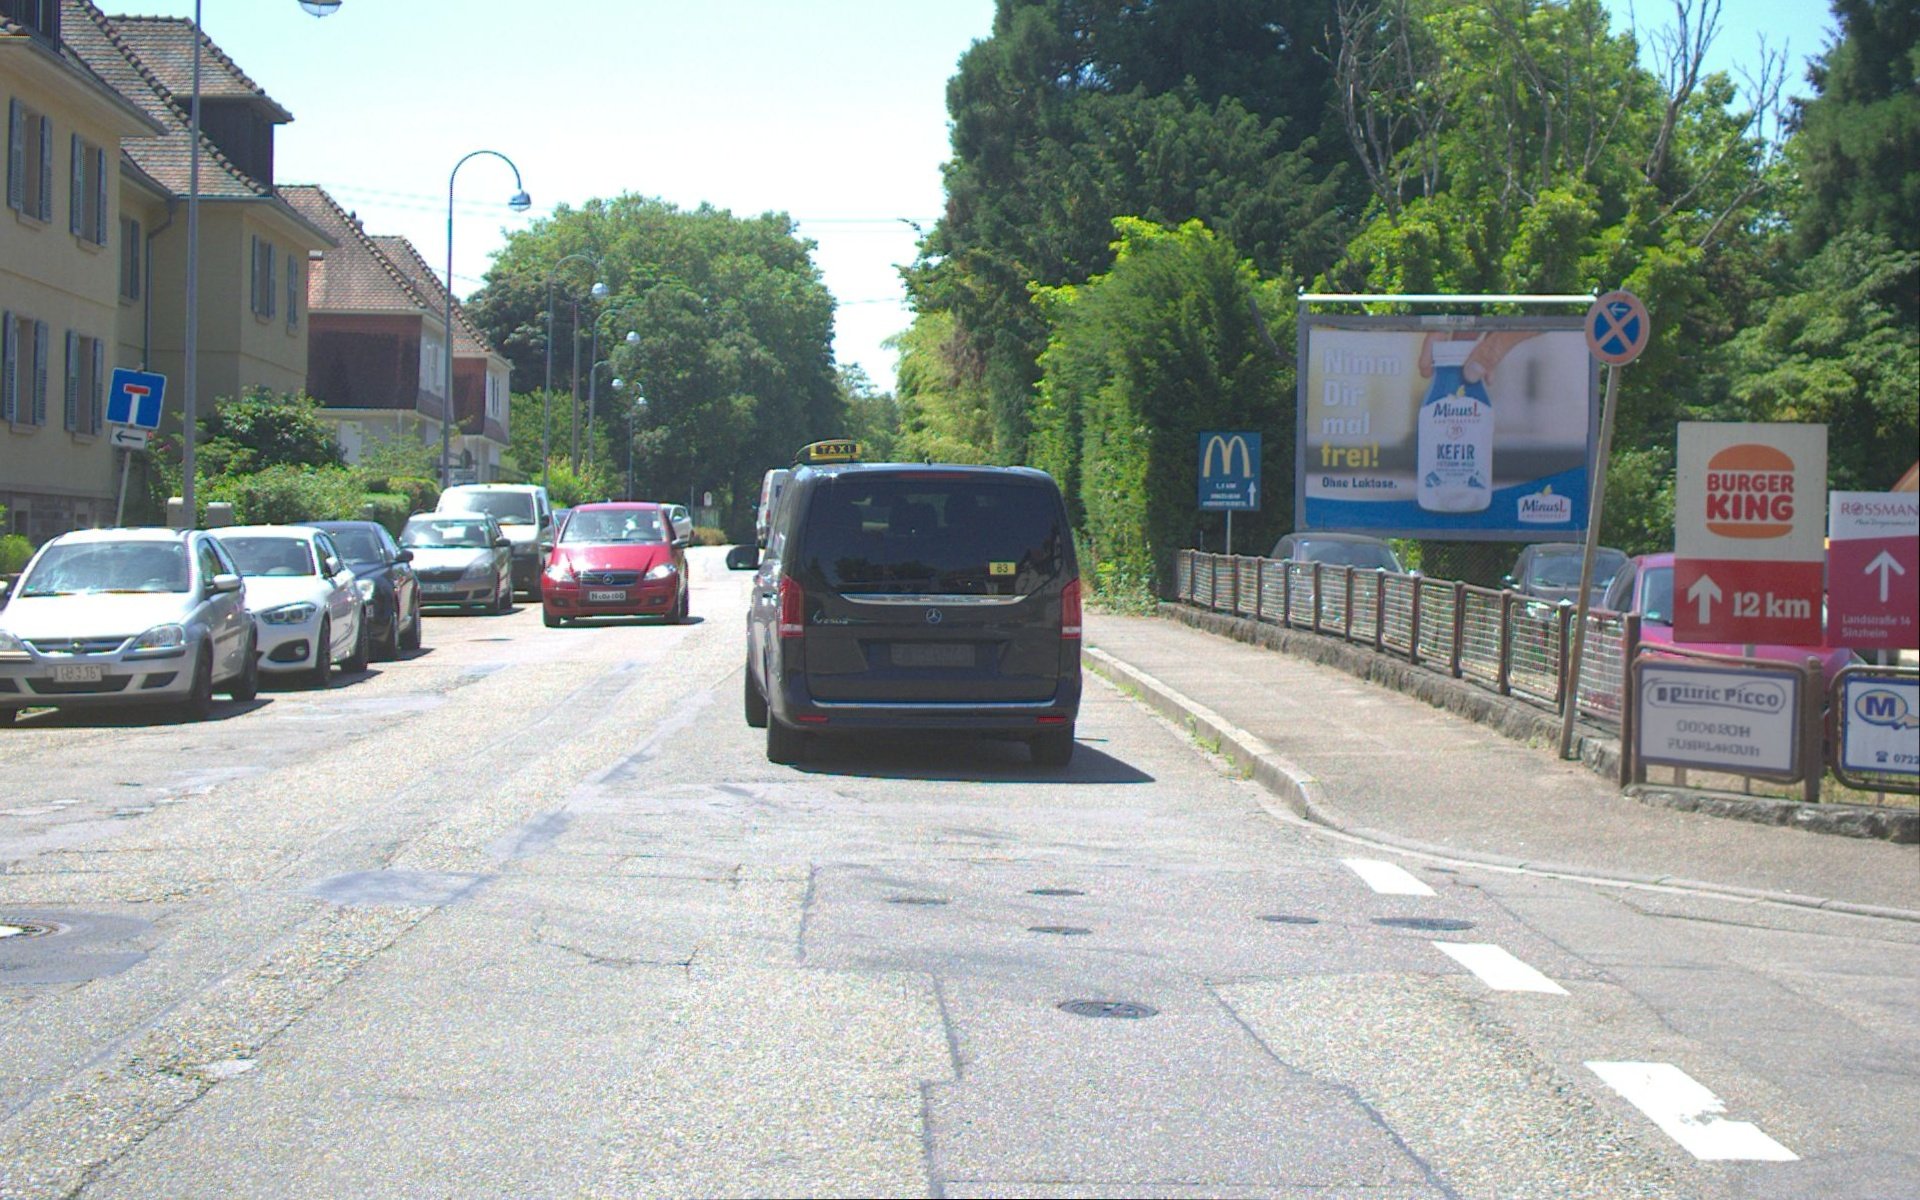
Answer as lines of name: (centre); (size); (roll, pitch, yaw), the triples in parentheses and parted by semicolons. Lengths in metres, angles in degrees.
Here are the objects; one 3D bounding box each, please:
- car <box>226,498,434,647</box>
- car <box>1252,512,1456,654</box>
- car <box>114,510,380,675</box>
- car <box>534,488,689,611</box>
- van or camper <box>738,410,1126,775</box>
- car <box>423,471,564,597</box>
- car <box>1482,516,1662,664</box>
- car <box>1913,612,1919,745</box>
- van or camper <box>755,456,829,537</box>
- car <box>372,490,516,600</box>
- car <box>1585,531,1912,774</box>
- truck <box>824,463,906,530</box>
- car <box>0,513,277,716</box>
car: (-6.688, -0.329, 36.853); (1.715, 1.480, 4.077); (-1, 1, -4)
car: (4.571, -0.236, 40.314); (1.631, 1.454, 3.557); (5, 1, -4)
car: (-6.476, -0.117, 31.622); (1.794, 1.397, 4.220); (-1, 1, -3)
car: (-4.581, -0.694, 45.599); (1.814, 1.560, 3.697); (0, 1, -2)
van or camper: (-0.324, -0.114, 22.071); (1.902, 2.007, 5.271); (2, 1, -6)
car: (-7.708, -1.135, 57.163); (1.878, 1.956, 4.626); (-1, 2, -3)
car: (7.166, -0.140, 40.507); (1.632, 1.538, 3.392); (5, 1, 4)
car: (7.782, 0.331, 23.696); (1.712, 1.659, 4.458); (3, 2, 8)
van or camper: (-5.437, -3.315, 110.571); (2.262, 2.519, 4.760); (0, 1, -4)
car: (-7.581, -0.845, 50.816); (1.686, 1.520, 4.063); (1, 2, -3)
car: (5.409, 0.299, 24.001); (1.712, 1.518, 3.839); (1, 1, 6)
truck: (-3.375, -3.626, 120.413); (2.355, 2.250, 6.093); (1, 1, -6)
car: (-6.461, 0.057, 26.647); (1.759, 1.442, 3.925); (-1, 1, -3)
